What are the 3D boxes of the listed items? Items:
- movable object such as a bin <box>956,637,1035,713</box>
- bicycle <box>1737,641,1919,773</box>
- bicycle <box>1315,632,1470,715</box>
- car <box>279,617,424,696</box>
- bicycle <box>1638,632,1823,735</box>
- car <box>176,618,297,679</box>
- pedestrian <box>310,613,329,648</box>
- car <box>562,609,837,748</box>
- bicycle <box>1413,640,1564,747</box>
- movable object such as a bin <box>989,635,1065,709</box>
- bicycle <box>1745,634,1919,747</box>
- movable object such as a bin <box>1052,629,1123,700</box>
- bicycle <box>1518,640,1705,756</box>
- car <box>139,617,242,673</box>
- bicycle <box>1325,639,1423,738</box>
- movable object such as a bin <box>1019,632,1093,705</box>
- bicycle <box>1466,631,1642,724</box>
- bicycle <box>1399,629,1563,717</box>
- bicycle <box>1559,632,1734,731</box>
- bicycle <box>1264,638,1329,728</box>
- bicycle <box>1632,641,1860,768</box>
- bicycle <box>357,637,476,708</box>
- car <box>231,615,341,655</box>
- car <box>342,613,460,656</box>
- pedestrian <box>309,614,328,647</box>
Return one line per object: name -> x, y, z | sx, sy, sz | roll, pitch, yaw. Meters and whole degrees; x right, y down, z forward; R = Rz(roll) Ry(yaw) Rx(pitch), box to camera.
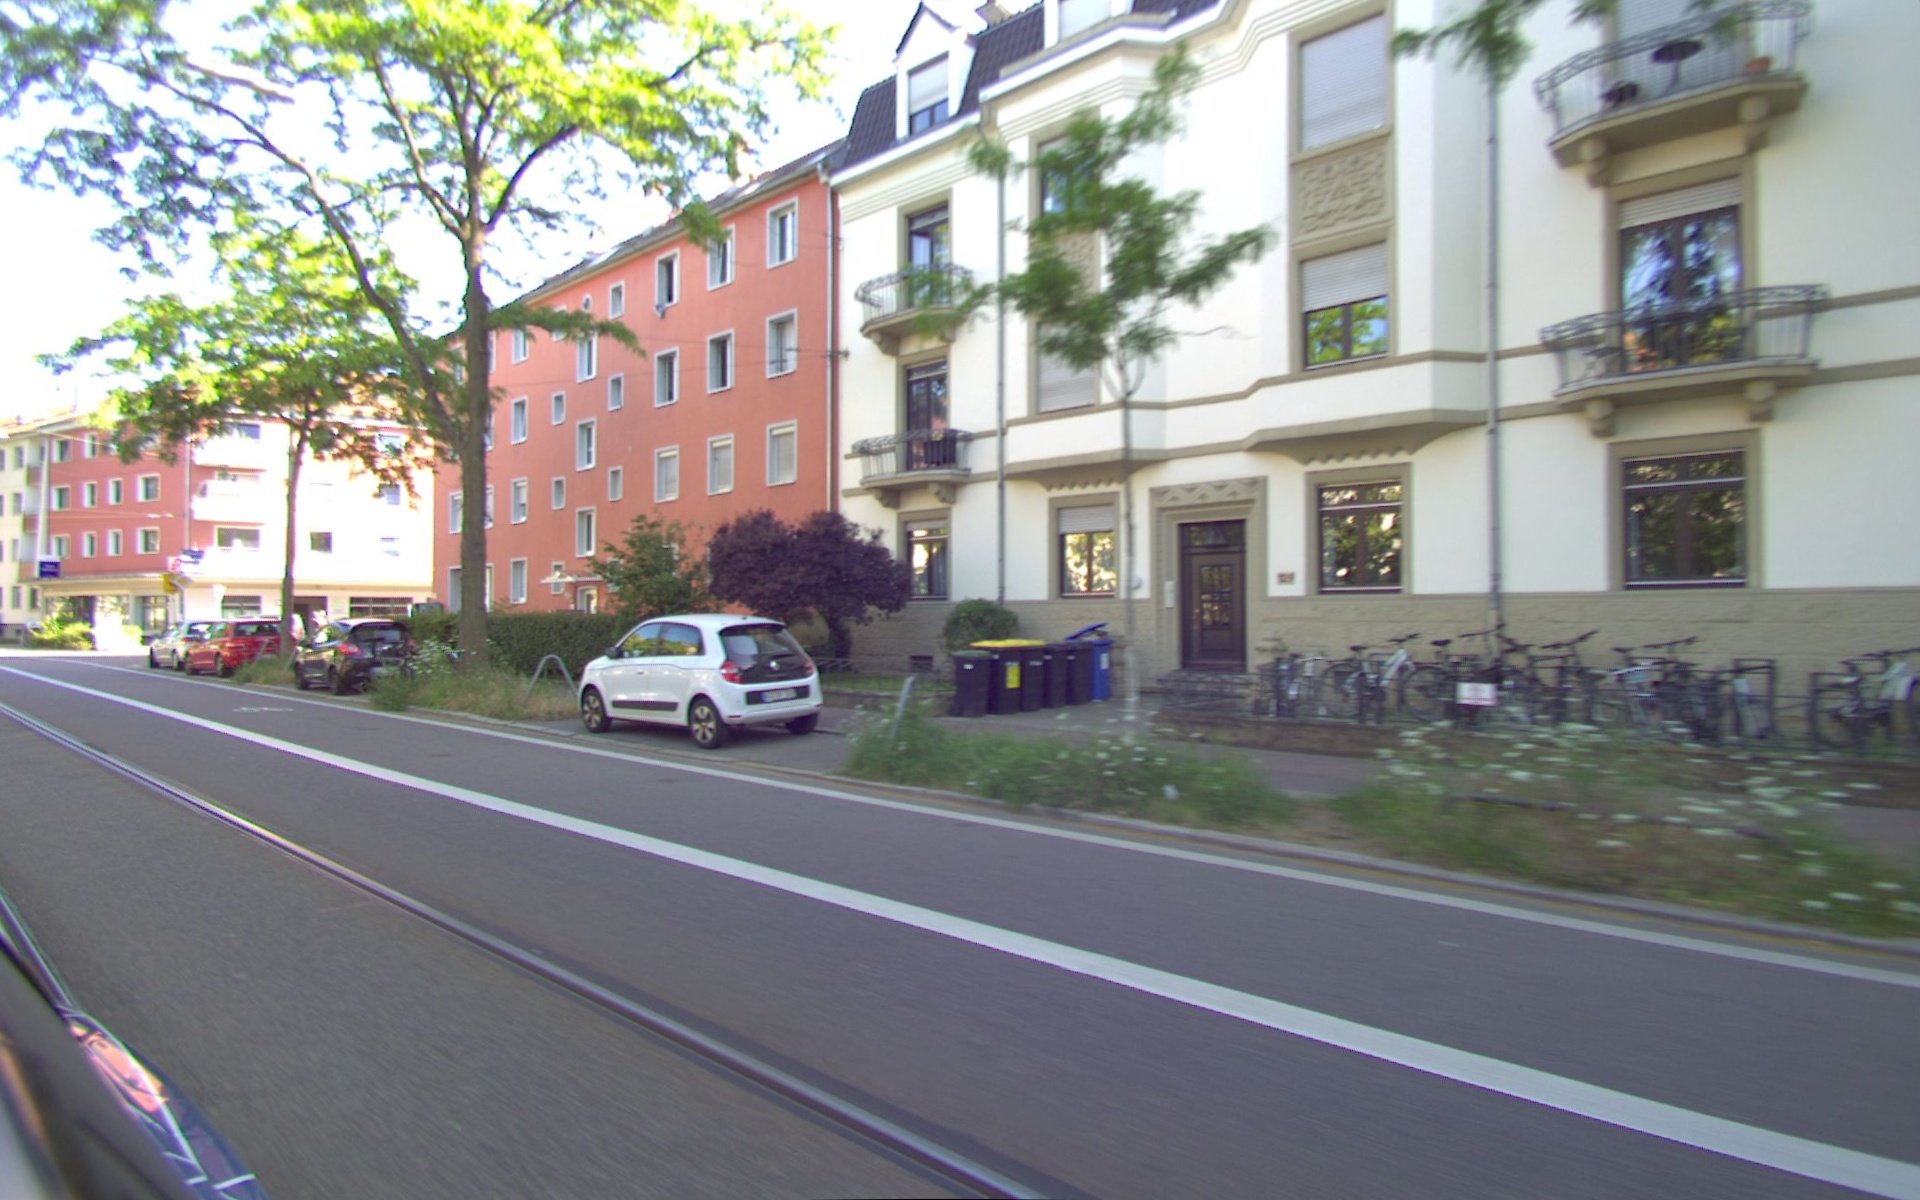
movable object such as a bin -> 0.521, 1.065, 14.744 | 0.895, 1.049, 0.730 | -1, -2, 41
bicycle -> 7.807, 0.878, 8.813 | 0.550, 1.004, 1.863 | 0, -1, -3
bicycle -> 5.789, 0.973, 13.575 | 1.833, 1.004, 0.559 | -2, -1, -8
car -> -12.624, 1.105, 20.915 | 3.666, 1.465, 1.538 | -1, -1, 41
bicycle -> 8.421, 0.888, 11.068 | 1.831, 1.004, 0.560 | -2, -1, -15
car -> -19.199, 1.235, 26.796 | 4.091, 1.465, 1.558 | -1, -1, 38
pedestrian -> -33.559, 1.595, 53.015 | 0.791, 1.779, 0.510 | 1, -2, -30
car -> -3.466, 0.915, 13.175 | 3.686, 1.547, 1.609 | -1, -1, 40
bicycle -> 5.550, 0.945, 10.761 | 0.550, 1.004, 1.863 | 0, -1, -3
movable object such as a bin -> 1.016, 1.060, 15.303 | 0.895, 1.062, 0.730 | -1, -2, 41
bicycle -> 8.934, 0.885, 10.218 | 1.831, 1.004, 0.560 | -2, -1, -15
movable object such as a bin -> 2.087, 1.038, 16.585 | 0.895, 1.122, 0.730 | -1, -2, 41
bicycle -> 6.347, 0.913, 9.988 | 0.550, 1.004, 1.863 | 0, -1, -3
car -> -22.948, 1.290, 30.128 | 4.092, 1.517, 1.557 | -1, -1, 39
bicycle -> 4.683, 0.966, 11.563 | 0.551, 1.004, 1.858 | 0, -1, 7
movable object such as a bin -> 1.506, 1.056, 15.880 | 0.895, 1.093, 0.730 | -1, -2, 41
bicycle -> 7.184, 0.920, 12.266 | 1.833, 1.004, 0.559 | -2, -1, -8
bicycle -> 6.652, 0.916, 12.955 | 1.833, 1.004, 0.559 | -2, -1, -8
bicycle -> 7.897, 0.913, 11.644 | 1.831, 1.004, 0.560 | -2, -1, -15
bicycle -> 4.148, 0.985, 12.570 | 0.552, 1.004, 1.855 | 0, -1, 12
bicycle -> 7.084, 0.898, 9.258 | 0.550, 1.004, 1.863 | 0, -1, -3
bicycle -> -9.560, 1.250, 17.858 | 0.542, 1.129, 1.793 | -1, -1, 41
car -> -31.707, 1.635, 47.715 | 4.216, 1.793, 1.793 | 1, -2, -33
car -> -24.364, 1.515, 44.239 | 4.414, 1.793, 1.794 | 1, -2, -29
pedestrian -> -34.052, 1.623, 53.759 | 0.791, 1.779, 0.510 | 1, -2, -30
